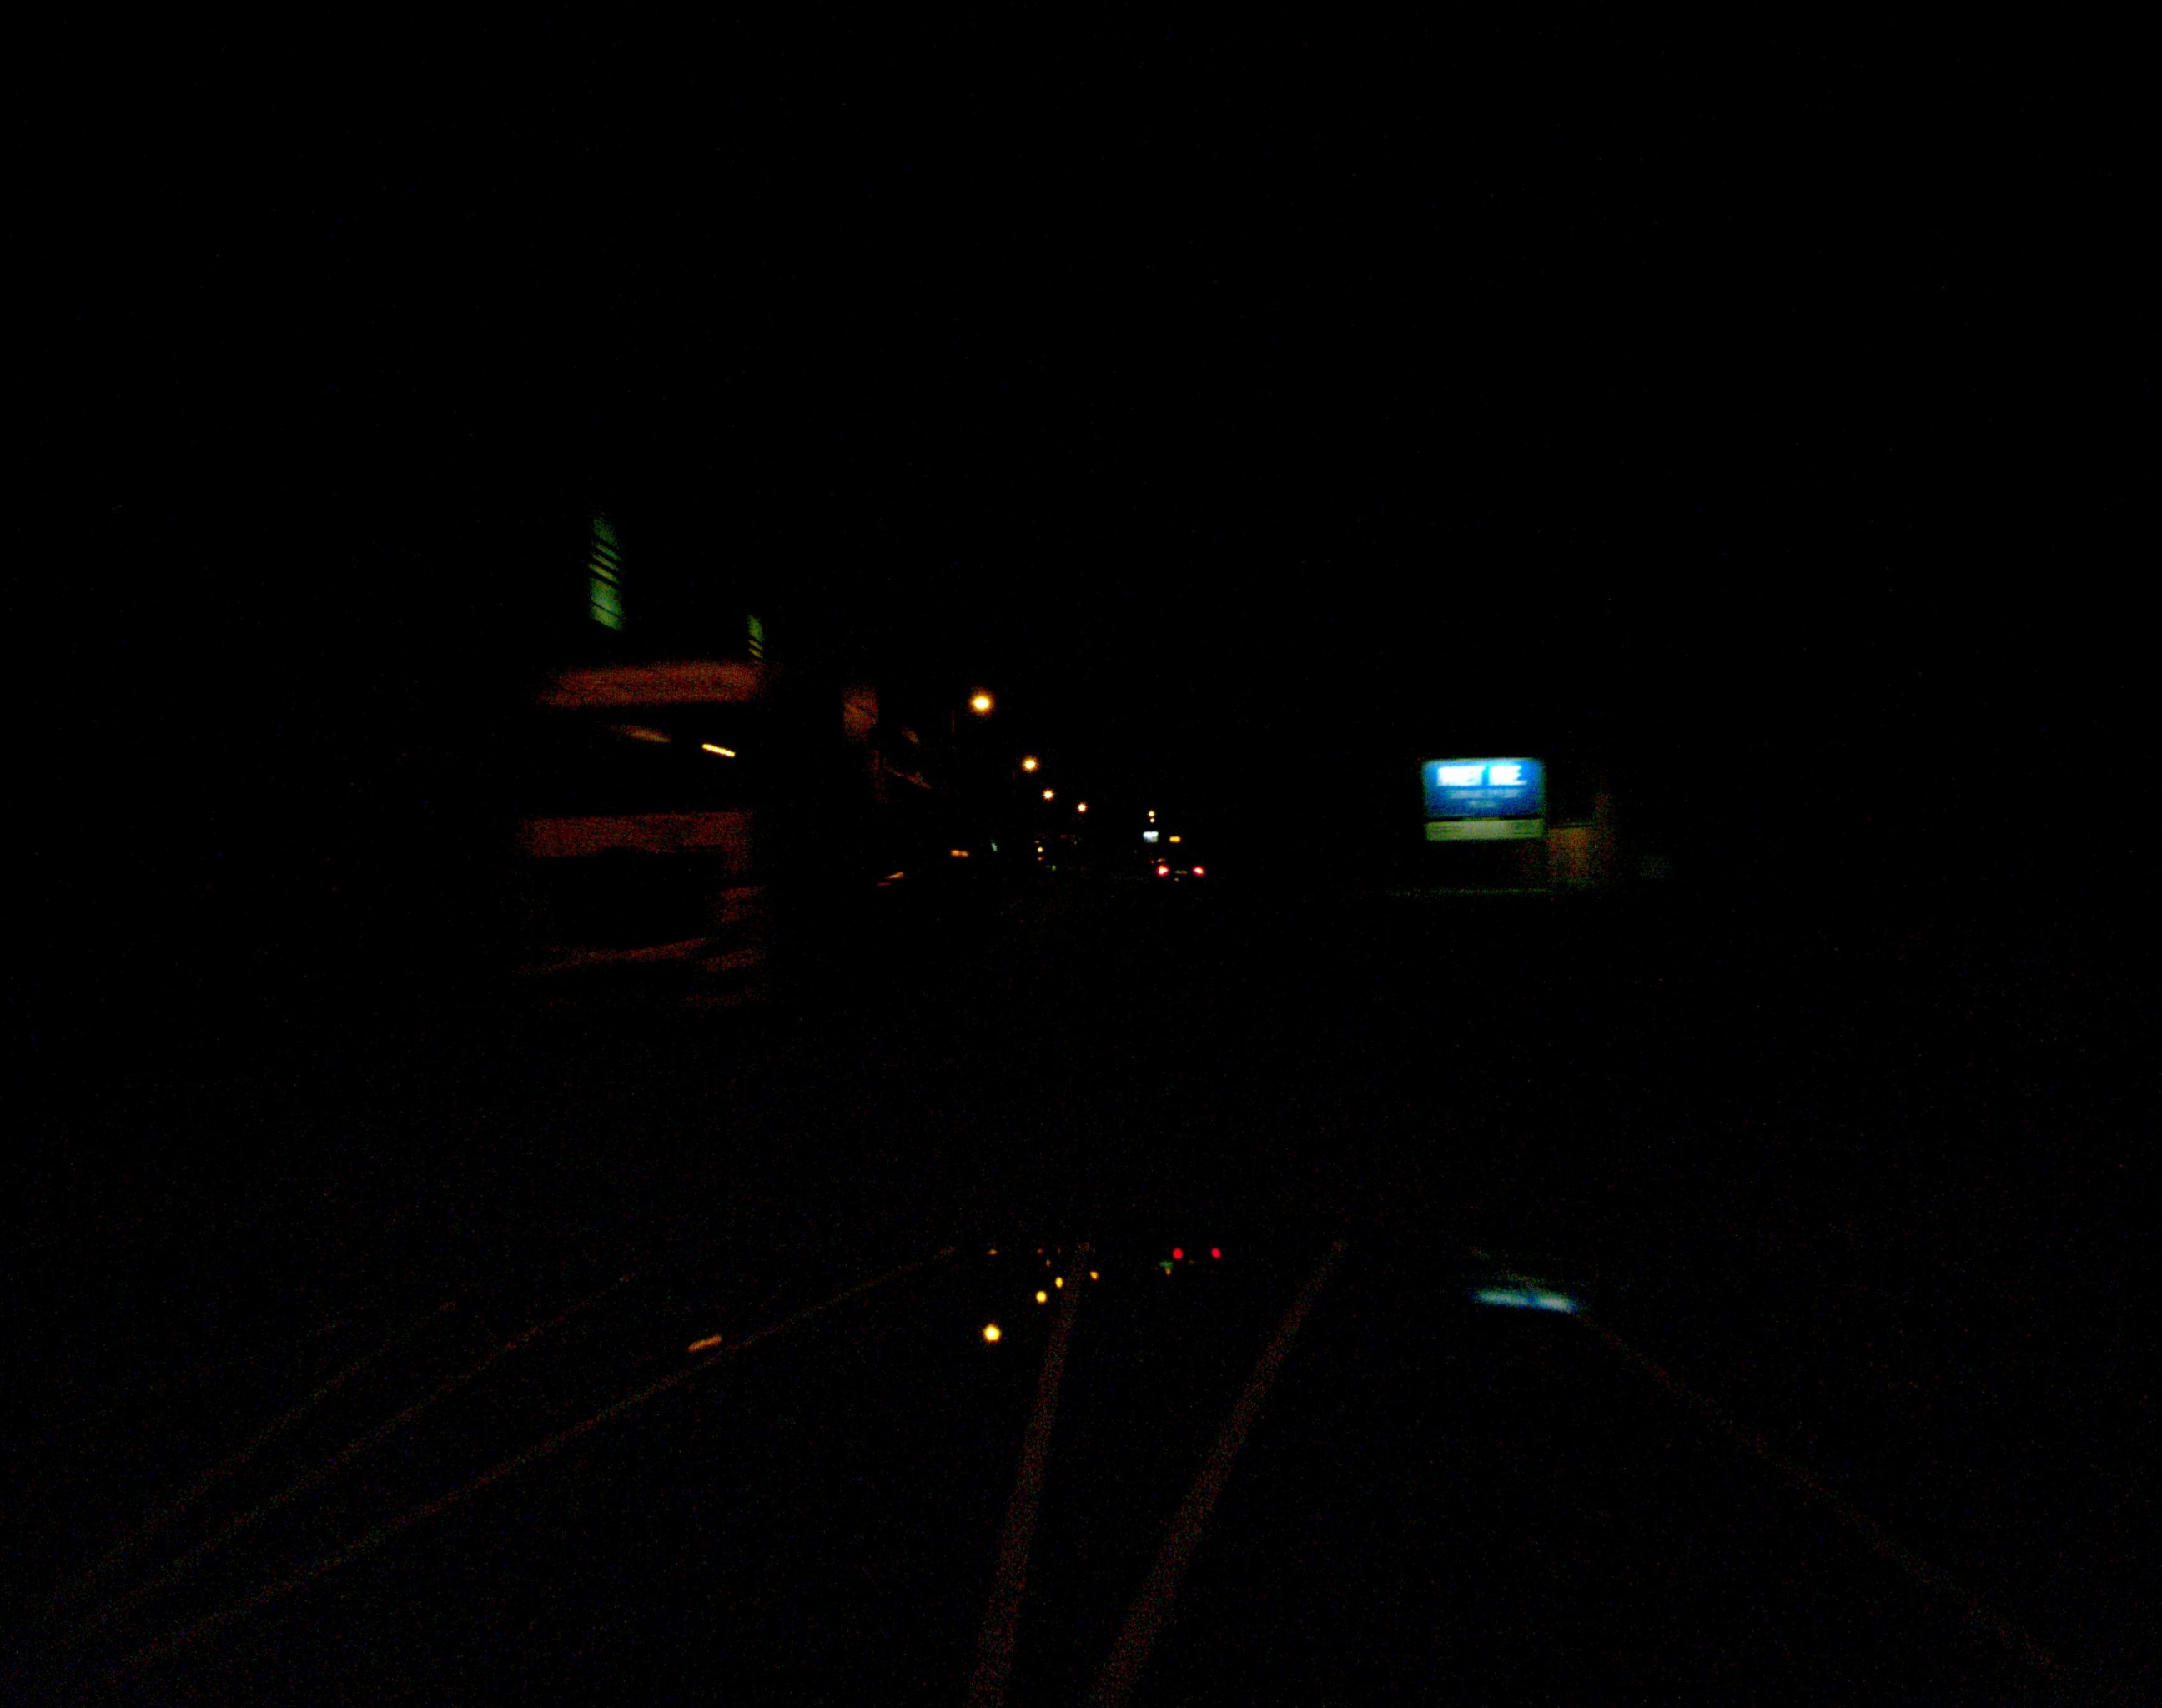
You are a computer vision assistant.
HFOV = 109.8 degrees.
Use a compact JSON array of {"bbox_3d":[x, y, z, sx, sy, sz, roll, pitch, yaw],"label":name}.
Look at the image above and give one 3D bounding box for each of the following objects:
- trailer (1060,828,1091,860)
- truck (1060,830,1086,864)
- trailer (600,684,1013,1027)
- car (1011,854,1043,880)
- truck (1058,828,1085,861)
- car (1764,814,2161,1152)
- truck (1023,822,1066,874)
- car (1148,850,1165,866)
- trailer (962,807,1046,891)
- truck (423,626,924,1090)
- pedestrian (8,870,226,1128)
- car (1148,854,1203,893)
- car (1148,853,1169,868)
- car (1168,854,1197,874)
[{"bbox_3d":[-0.655,-1.481,113.965,3.072,4.449,13.414,-2,1,5],"label":"trailer"},{"bbox_3d":[-0.926,-0.730,95.486,2.659,3.851,10.233,-3,-1,2],"label":"truck"},{"bbox_3d":[-3.728,-0.068,15.862,2.772,3.742,14.655,-3,1,2],"label":"trailer"},{"bbox_3d":[-3.363,0.782,47.938,1.685,1.551,3.476,-1,0,1],"label":"car"},{"bbox_3d":[-1.293,-1.388,107.222,3.072,4.449,5.636,-2,1,5],"label":"truck"},{"bbox_3d":[6.607,0.663,3.956,1.808,1.788,4.878,-1,0,2],"label":"car"},{"bbox_3d":[-2.909,-0.443,63.332,2.797,3.947,9.821,-3,0,1],"label":"truck"},{"bbox_3d":[8.127,0.378,82.033,1.590,1.591,3.781,-3,1,2],"label":"car"},{"bbox_3d":[-3.458,-0.222,36.243,2.885,3.504,8.283,-1,0,2],"label":"trailer"},{"bbox_3d":[-3.923,0.021,8.929,2.772,3.742,5.228,-3,1,2],"label":"truck"},{"bbox_3d":[-6.565,0.939,5.215,0.575,1.640,0.689,0,1,0],"label":"pedestrian"},{"bbox_3d":[3.876,0.757,31.665,1.824,1.429,4.398,-1,0,2],"label":"car"},{"bbox_3d":[7.690,0.654,75.782,1.690,1.357,3.879,-3,1,2],"label":"car"},{"bbox_3d":[7.658,0.731,57.697,1.760,1.382,4.309,-1,0,3],"label":"car"}]
